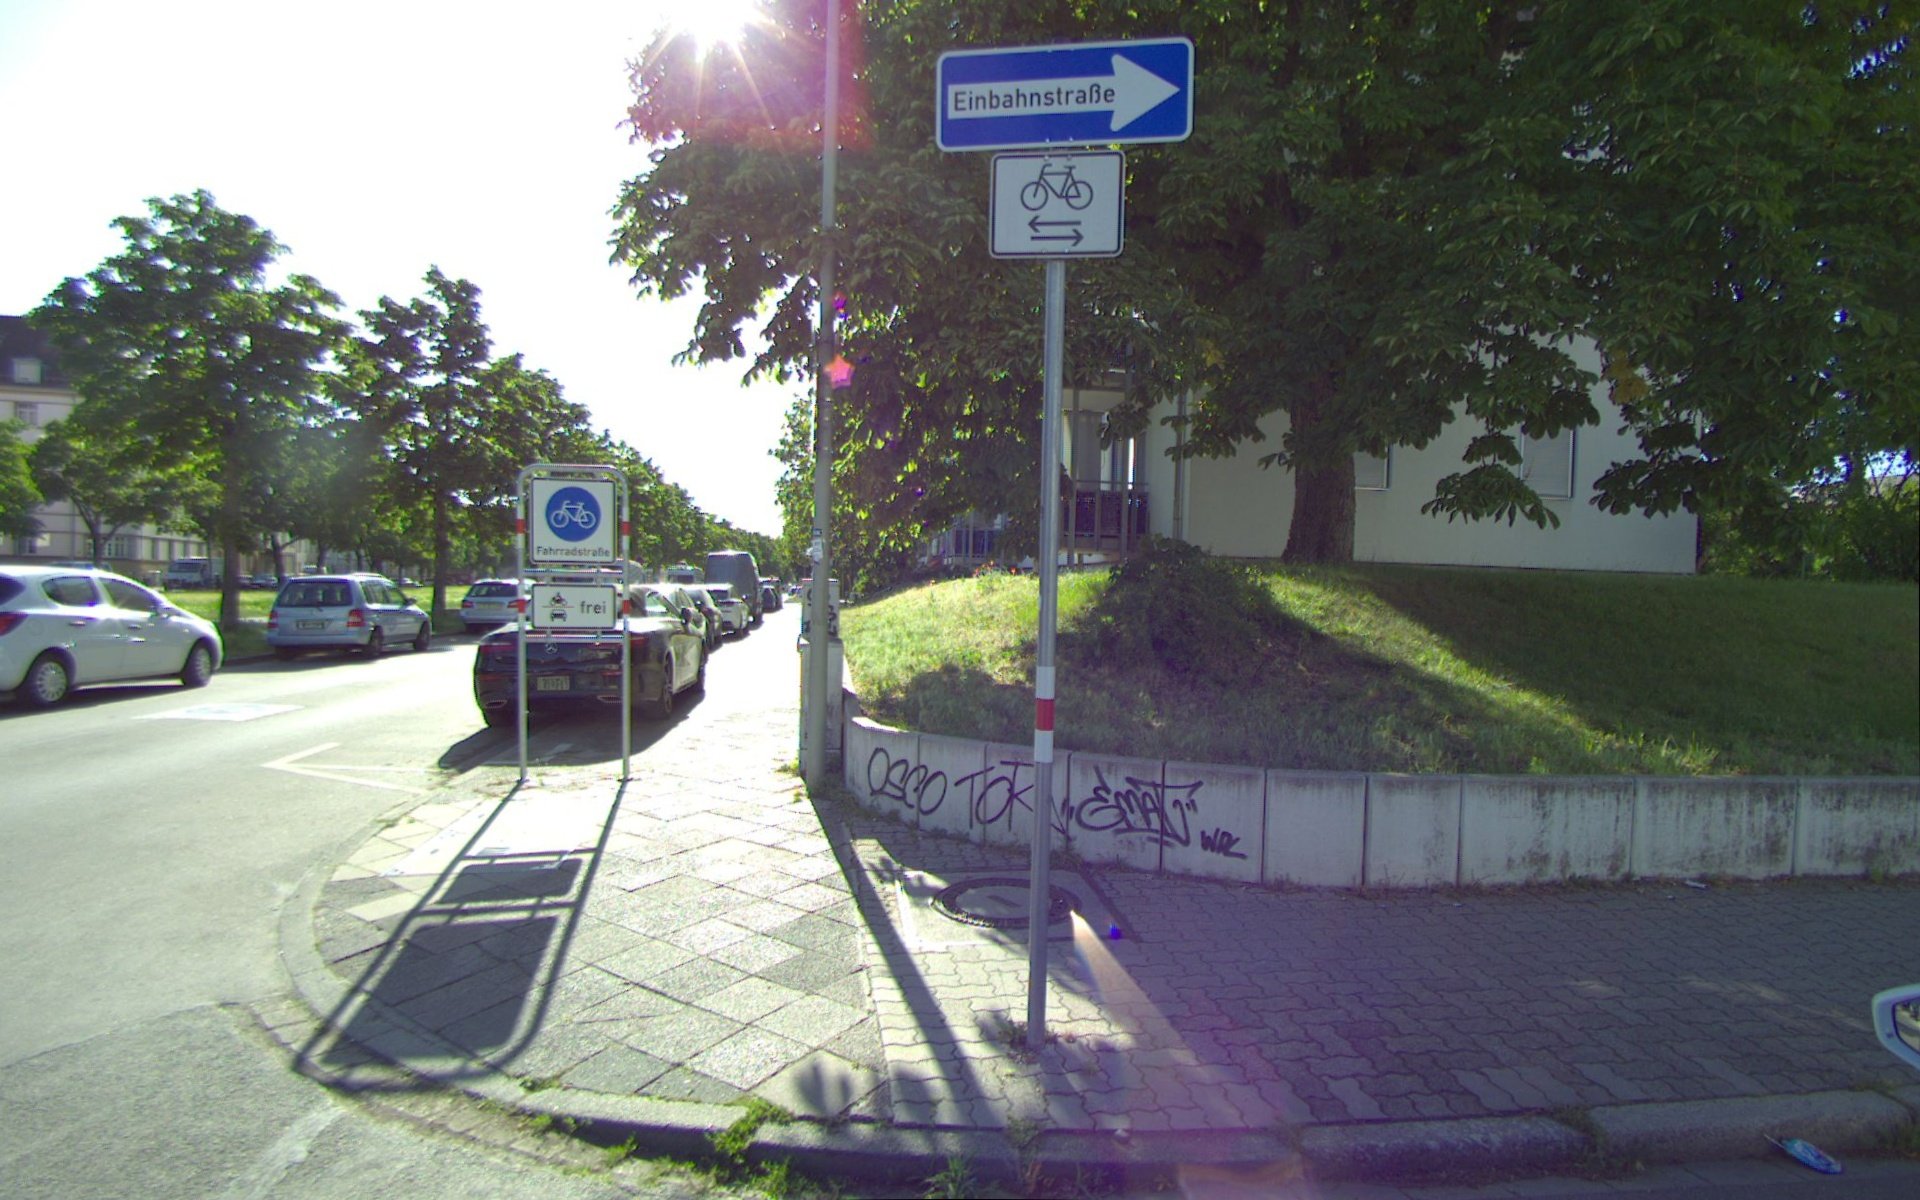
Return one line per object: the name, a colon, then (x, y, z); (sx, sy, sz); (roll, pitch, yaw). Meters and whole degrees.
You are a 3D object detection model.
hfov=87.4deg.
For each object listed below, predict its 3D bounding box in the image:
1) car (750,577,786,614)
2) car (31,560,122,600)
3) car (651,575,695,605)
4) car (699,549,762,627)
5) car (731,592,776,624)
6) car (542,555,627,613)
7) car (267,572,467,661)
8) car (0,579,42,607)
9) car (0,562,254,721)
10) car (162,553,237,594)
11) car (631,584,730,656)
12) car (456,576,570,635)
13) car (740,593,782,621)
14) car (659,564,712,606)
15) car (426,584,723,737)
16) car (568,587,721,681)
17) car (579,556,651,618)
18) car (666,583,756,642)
car: (-12.881, -0.340, 67.749); (2.130, 2.323, 5.257); (1, 1, -8)
car: (-52.387, -1.157, 59.702); (1.669, 2.243, 4.998); (1, 0, -10)
car: (-18.002, -0.636, 63.120); (1.979, 1.809, 4.121); (1, 1, -7)
car: (-8.710, -0.462, 38.540); (2.131, 2.725, 5.404); (1, 1, -11)
car: (-10.757, 0.398, 52.570); (1.958, 1.507, 4.121); (2, 1, -7)
car: (-13.846, -0.572, 37.277); (2.067, 1.969, 4.121); (2, 1, -8)
car: (-11.154, 0.263, 19.251); (1.752, 1.481, 4.121); (2, 1, -7)
car: (-51.419, -0.398, 54.039); (1.495, 1.459, 3.225); (2, 1, -11)
car: (-10.097, 0.397, 11.404); (1.750, 1.515, 3.870); (0, 0, -7)
car: (-54.393, -1.880, 71.965); (1.888, 2.780, 5.613); (1, 1, -10)
car: (-6.455, 0.406, 23.573); (1.753, 1.507, 4.024); (1, 1, -9)
car: (-12.747, 0.134, 28.906); (1.805, 1.520, 4.121); (2, 1, -7)
car: (-11.250, 0.366, 57.003); (1.958, 1.507, 4.121); (2, 1, -7)
car: (-18.713, -1.021, 68.723); (2.576, 2.681, 6.106); (2, 1, -7)
car: (-4.051, 0.519, 11.481); (2.092, 1.355, 4.500); (-1, 1, -7)
car: (-5.272, 0.493, 17.310); (1.752, 1.389, 4.121); (2, 1, -7)
car: (-14.890, -0.555, 43.596); (2.066, 2.530, 4.121); (2, 1, -7)
car: (-6.988, 0.301, 28.599); (1.958, 1.507, 4.121); (2, 1, -7)
